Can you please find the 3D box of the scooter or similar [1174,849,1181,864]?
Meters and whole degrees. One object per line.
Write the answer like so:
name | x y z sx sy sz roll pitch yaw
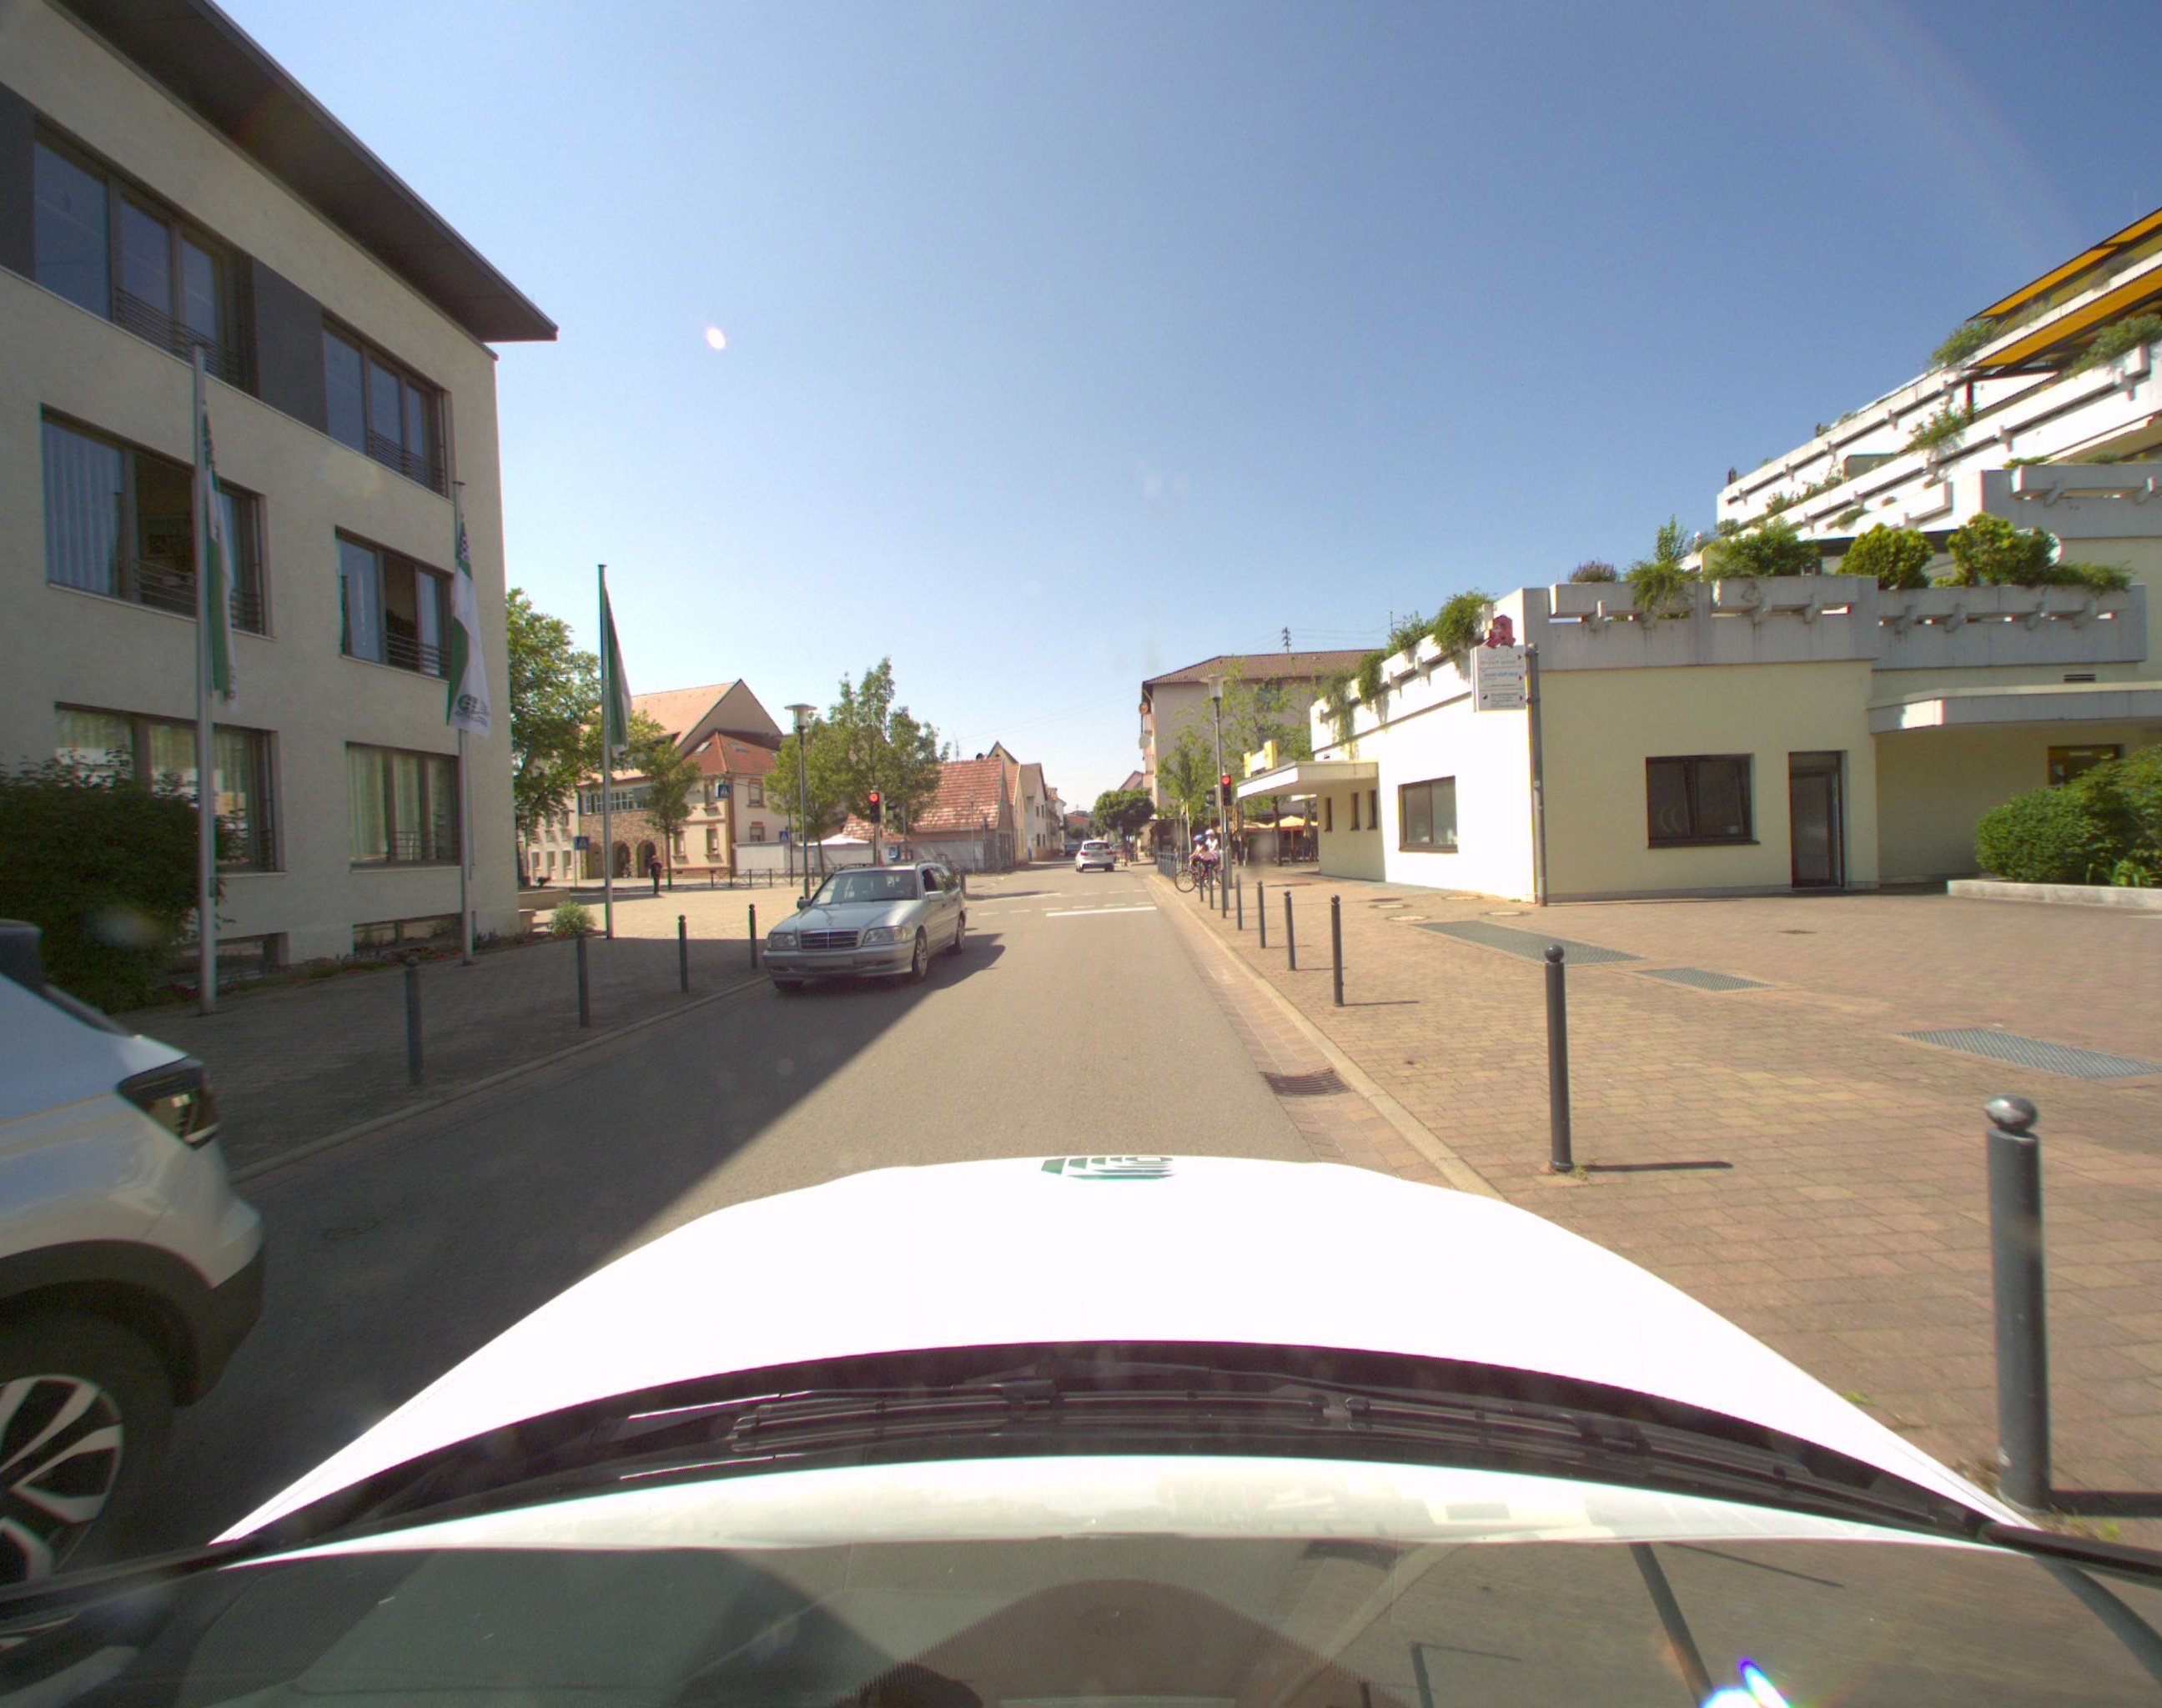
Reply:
scooter or similar | 5.891 0.159 49.672 0.376 0.873 0.893 -2 1 10

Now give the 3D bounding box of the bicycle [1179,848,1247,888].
bicycle | 3.785 0.386 23.283 1.904 0.958 0.669 -5 1 -34

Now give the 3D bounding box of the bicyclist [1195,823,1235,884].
bicyclist | 3.840 -0.008 23.339 0.765 1.664 0.664 -5 1 -34

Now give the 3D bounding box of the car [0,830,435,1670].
car | -3.041 0.796 0.513 1.843 1.573 4.004 -2 1 3

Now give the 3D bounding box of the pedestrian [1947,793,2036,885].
pedestrian | 15.558 -0.252 13.934 0.801 1.497 0.623 -2 0 26

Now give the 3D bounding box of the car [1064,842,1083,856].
car | -0.842 -0.626 93.596 1.706 1.517 3.791 -2 1 4

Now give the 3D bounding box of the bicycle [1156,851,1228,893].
bicycle | 2.981 0.470 21.751 1.905 0.957 0.668 -5 2 -36

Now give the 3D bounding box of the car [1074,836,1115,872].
car | 0.647 -0.041 42.228 1.830 1.651 3.996 -3 2 -3

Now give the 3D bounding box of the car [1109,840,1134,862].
car | 3.145 -0.245 62.533 1.796 1.501 4.005 -2 1 4

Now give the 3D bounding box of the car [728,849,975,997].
car | -2.766 0.736 10.990 1.874 1.464 4.437 -4 0 1

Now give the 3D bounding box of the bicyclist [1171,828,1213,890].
bicyclist | 2.972 0.137 21.759 0.765 1.581 0.663 -5 2 -36

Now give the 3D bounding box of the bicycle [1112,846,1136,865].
bicycle | 2.834 0.112 53.760 0.530 1.193 1.655 -3 1 -41

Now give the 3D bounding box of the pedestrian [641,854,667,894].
pedestrian | -17.980 0.824 34.285 0.818 1.654 0.841 -2 0 -38
